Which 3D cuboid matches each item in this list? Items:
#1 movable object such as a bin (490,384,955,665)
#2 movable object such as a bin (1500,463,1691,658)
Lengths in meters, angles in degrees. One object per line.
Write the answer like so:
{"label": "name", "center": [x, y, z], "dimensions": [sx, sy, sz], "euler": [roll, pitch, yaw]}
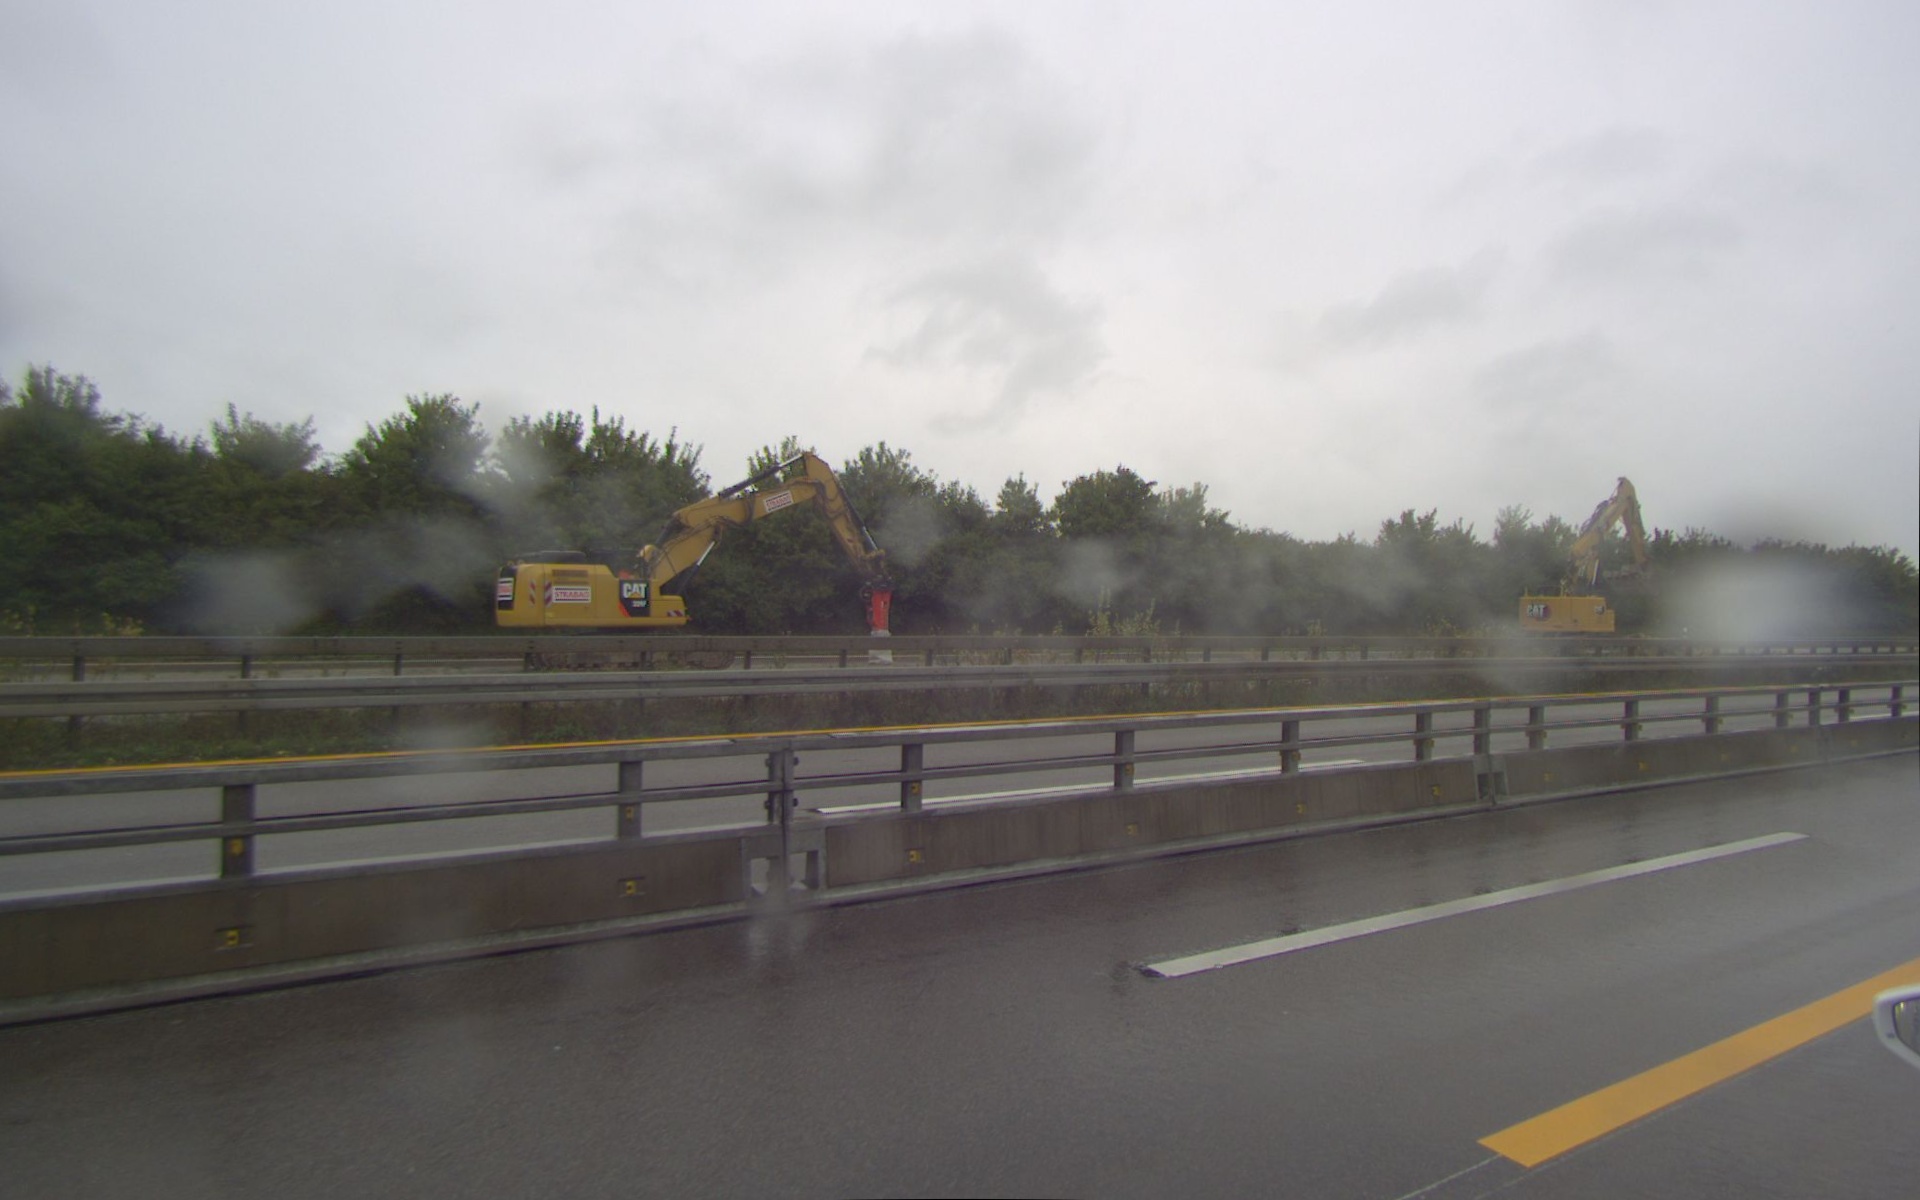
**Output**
{"label": "movable object such as a bin", "center": [-5.962, -1.492, 25.925], "dimensions": [10.908, 5.994, 4.154], "euler": [2, 0, -28]}
{"label": "movable object such as a bin", "center": [29.158, -1.582, 46.049], "dimensions": [8.202, 8.252, 3.583], "euler": [2, 0, -27]}
